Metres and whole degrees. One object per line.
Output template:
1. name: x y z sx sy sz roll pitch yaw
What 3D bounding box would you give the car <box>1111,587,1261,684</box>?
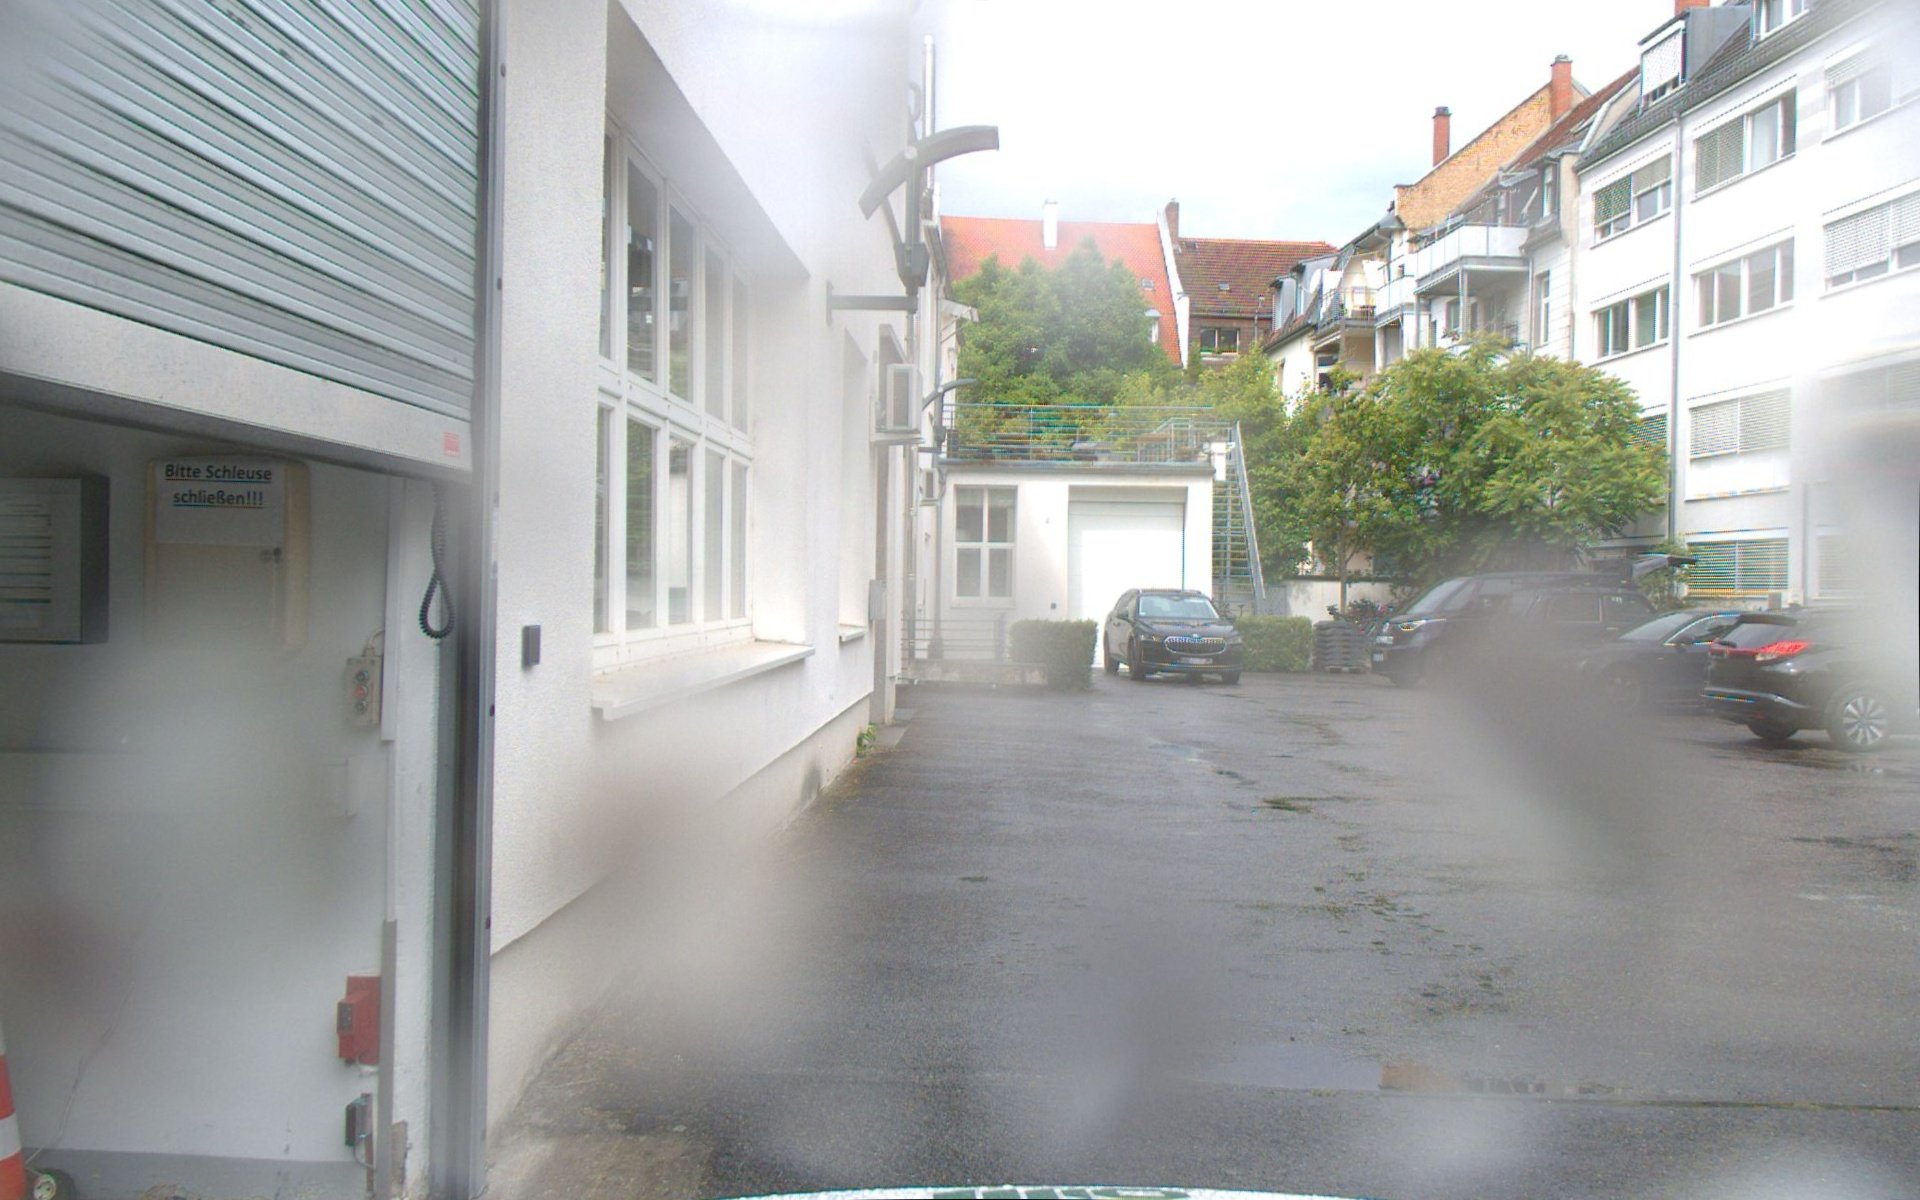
1. car: 3.728 0.539 27.949 1.939 1.469 4.000 1 1 0

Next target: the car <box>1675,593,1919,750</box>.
1. car: 9.848 0.696 17.454 3.833 1.540 1.817 0 0 -6

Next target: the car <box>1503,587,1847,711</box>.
1. car: 9.424 0.622 21.983 3.831 1.540 1.751 0 0 -4

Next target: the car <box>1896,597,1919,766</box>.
1. car: 10.391 0.712 14.065 3.908 1.484 1.772 0 0 -4

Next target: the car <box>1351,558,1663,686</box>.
1. car: 9.231 0.324 28.116 4.549 2.038 2.221 0 1 -9

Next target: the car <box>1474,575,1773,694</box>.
1. car: 10.031 0.501 25.224 3.829 1.717 1.817 0 0 0
